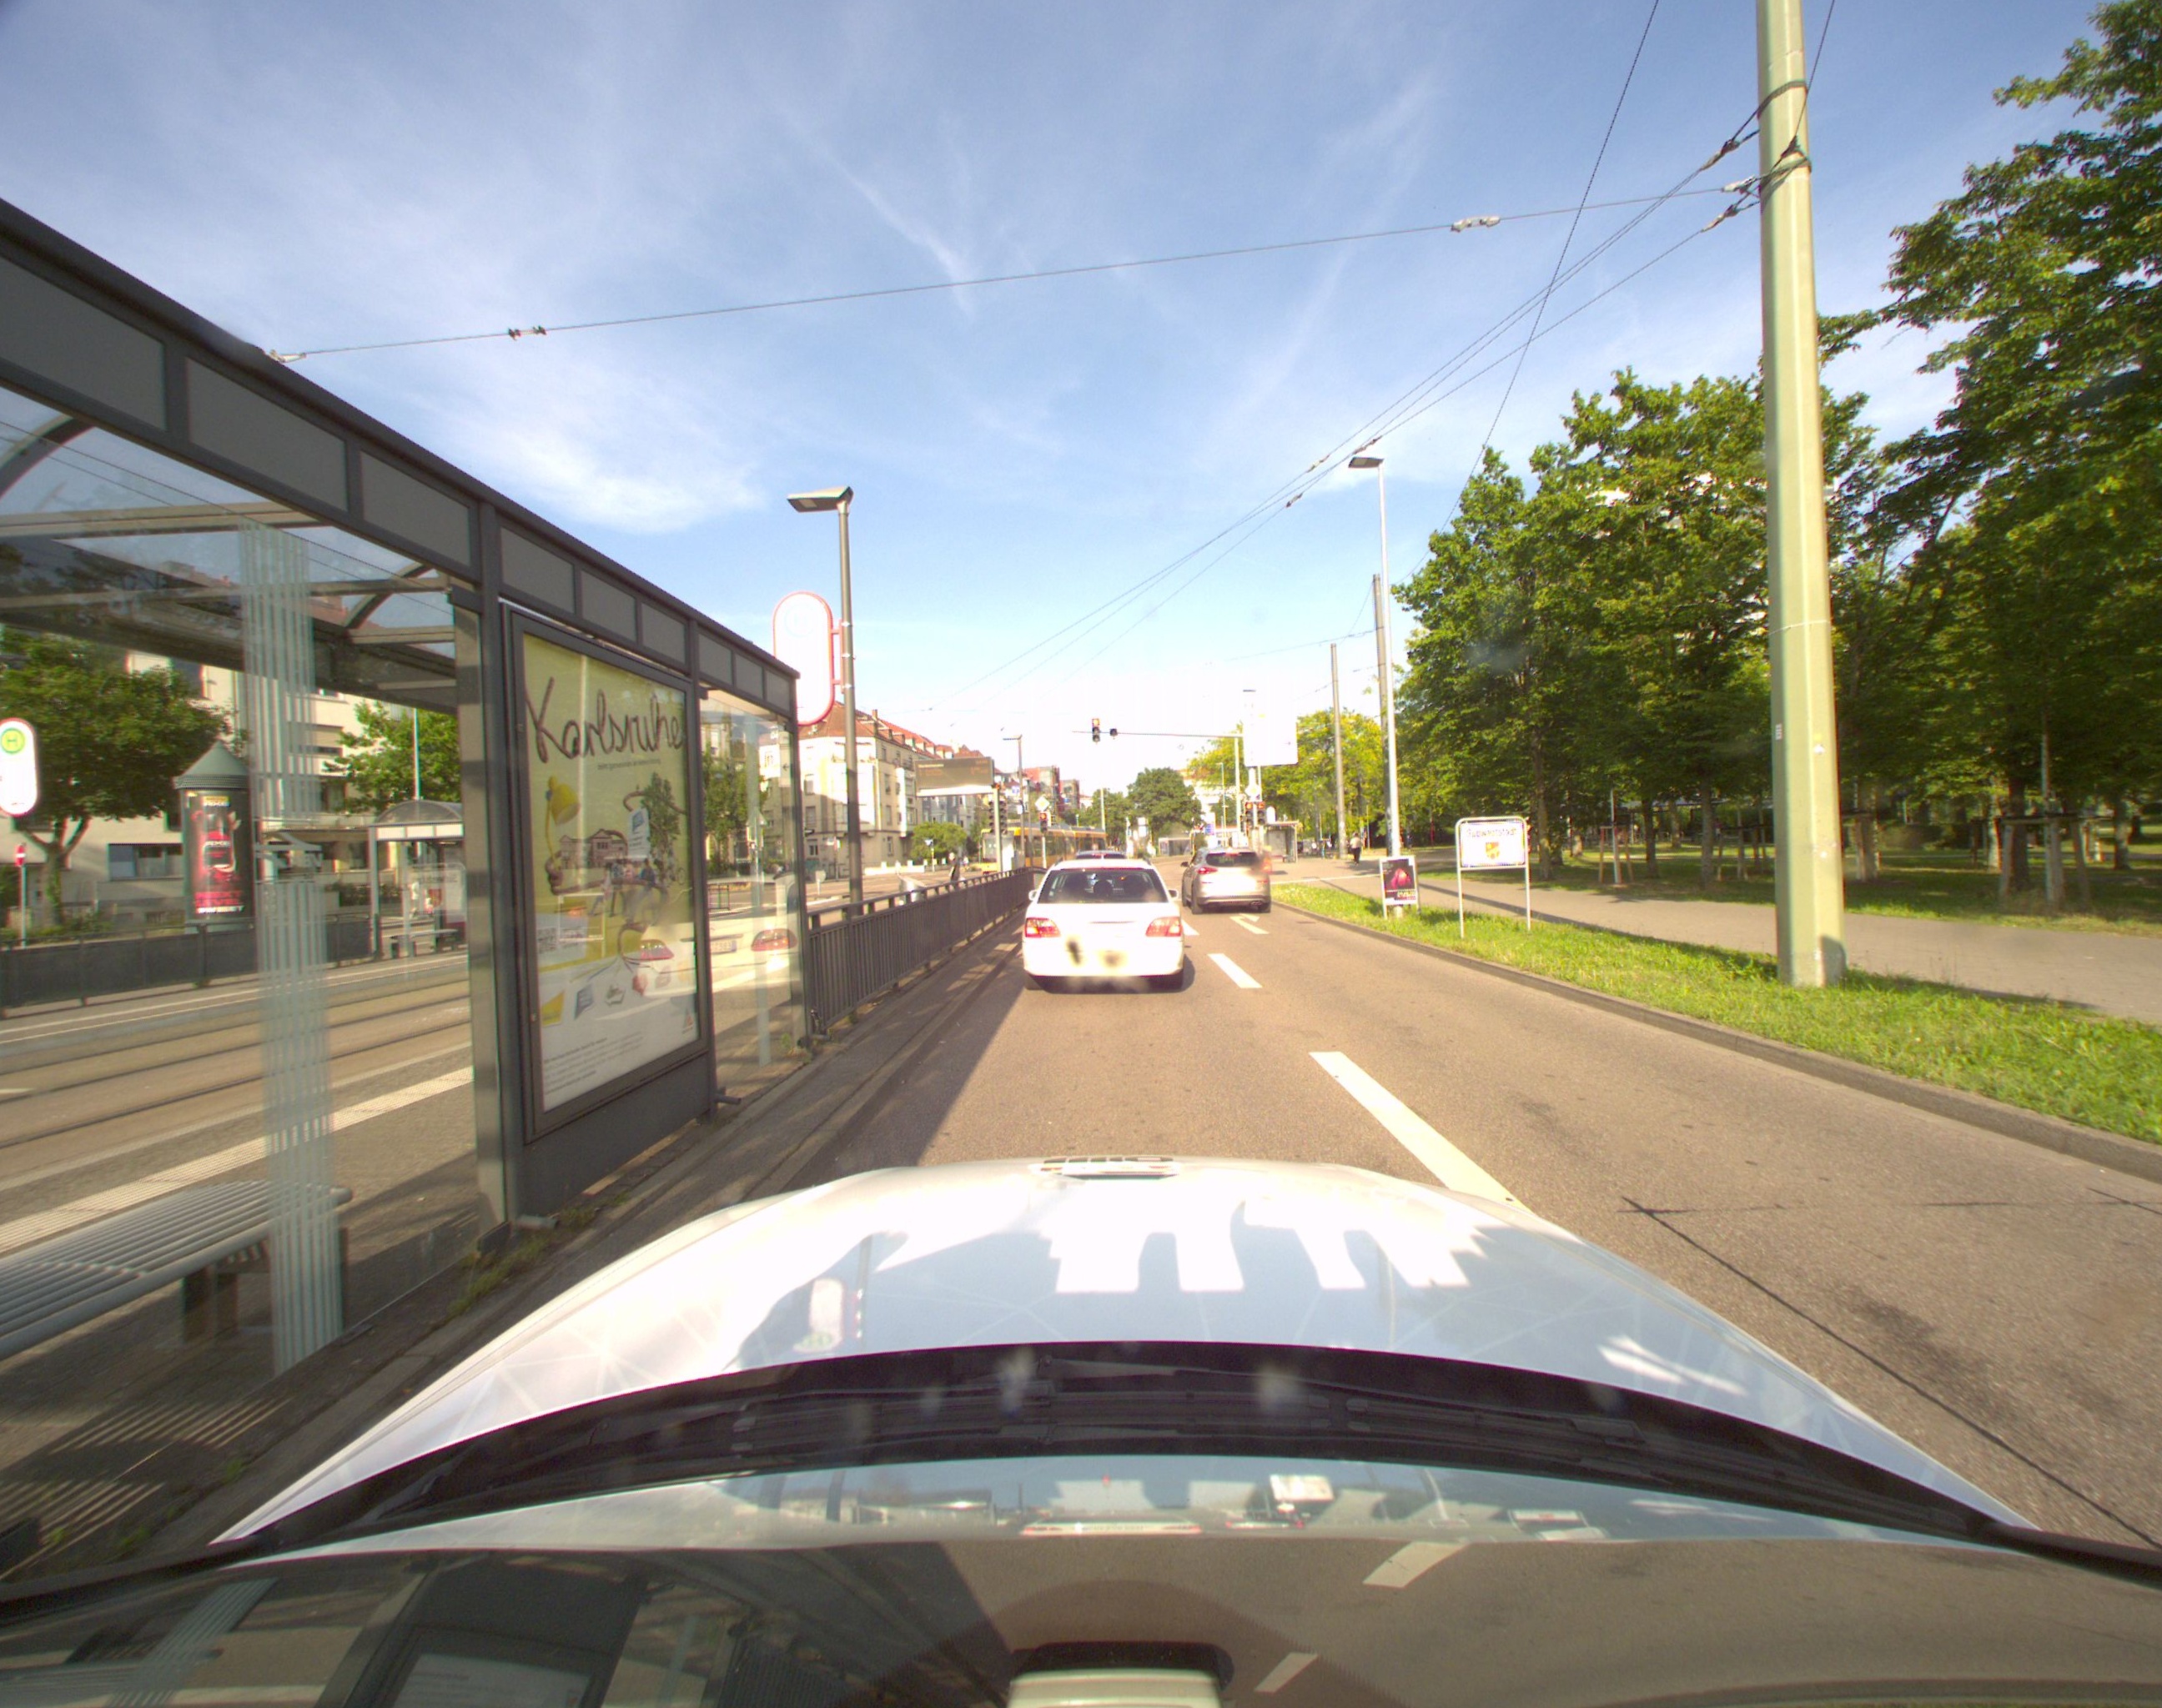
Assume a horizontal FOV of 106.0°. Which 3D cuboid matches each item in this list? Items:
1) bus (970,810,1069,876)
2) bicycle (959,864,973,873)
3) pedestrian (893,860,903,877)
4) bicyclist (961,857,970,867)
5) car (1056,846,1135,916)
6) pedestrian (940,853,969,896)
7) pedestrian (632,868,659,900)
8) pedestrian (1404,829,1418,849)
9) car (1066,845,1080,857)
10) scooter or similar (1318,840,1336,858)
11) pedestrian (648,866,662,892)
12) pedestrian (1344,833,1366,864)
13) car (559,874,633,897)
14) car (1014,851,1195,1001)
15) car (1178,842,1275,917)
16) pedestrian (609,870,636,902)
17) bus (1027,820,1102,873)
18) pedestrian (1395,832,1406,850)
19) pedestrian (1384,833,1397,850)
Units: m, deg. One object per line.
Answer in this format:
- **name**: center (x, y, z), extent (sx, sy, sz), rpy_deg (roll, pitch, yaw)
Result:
- **bus**: center (-3.471, -0.552, 50.638), extent (3.089, 3.606, 12.409), rpy_deg (-1, -1, 10)
- **bicycle**: center (-11.548, 1.452, 81.545), extent (0.521, 0.834, 1.696), rpy_deg (-3, 0, 25)
- **pedestrian**: center (-17.267, 1.354, 76.808), extent (0.626, 1.541, 0.711), rpy_deg (-3, 0, 1)
- **bicyclist**: center (-11.561, 0.804, 81.595), extent (0.508, 1.044, 0.683), rpy_deg (-3, 0, 26)
- **car**: center (0.396, 0.630, 21.199), extent (1.878, 1.651, 3.649), rpy_deg (0, 0, 2)
- **pedestrian**: center (-5.012, 0.801, 32.346), extent (0.798, 1.645, 0.748), rpy_deg (-2, 0, -42)
- **pedestrian**: center (-22.098, 1.513, 41.331), extent (0.822, 1.552, 0.786), rpy_deg (-3, 0, 23)
- **pedestrian**: center (29.265, -1.314, 72.238), extent (0.797, 1.785, 0.838), rpy_deg (-3, 0, -3)
- **car**: center (-1.340, -0.434, 139.210), extent (2.067, 2.014, 4.165), rpy_deg (0, -1, 2)
- **scooter or similar**: center (16.319, -0.337, 54.044), extent (0.421, 1.117, 1.322), rpy_deg (-2, 0, -18)
- **pedestrian**: center (-25.637, 1.508, 48.971), extent (0.434, 1.501, 0.551), rpy_deg (-3, 0, 16)
- **pedestrian**: center (14.693, -0.300, 43.648), extent (0.758, 1.636, 0.800), rpy_deg (-2, 0, -38)
- **car**: center (-29.257, 1.870, 49.134), extent (4.066, 1.310, 1.774), rpy_deg (-1, -1, 23)
- **car**: center (0.295, 0.721, 9.964), extent (1.789, 1.470, 3.649), rpy_deg (-1, 0, 2)
- **car**: center (3.615, 0.591, 20.830), extent (1.878, 1.651, 3.649), rpy_deg (-3, 0, 2)
- **pedestrian**: center (-23.144, 1.603, 41.105), extent (0.822, 1.552, 0.786), rpy_deg (-3, 0, 23)
- **bus**: center (-0.979, -0.477, 62.936), extent (3.088, 3.606, 12.630), rpy_deg (-1, -1, 11)
- **pedestrian**: center (27.917, -1.146, 71.109), extent (0.805, 1.487, 0.705), rpy_deg (-3, 0, 26)
- **pedestrian**: center (27.401, -1.084, 72.024), extent (0.820, 1.487, 0.692), rpy_deg (-2, 0, -40)
